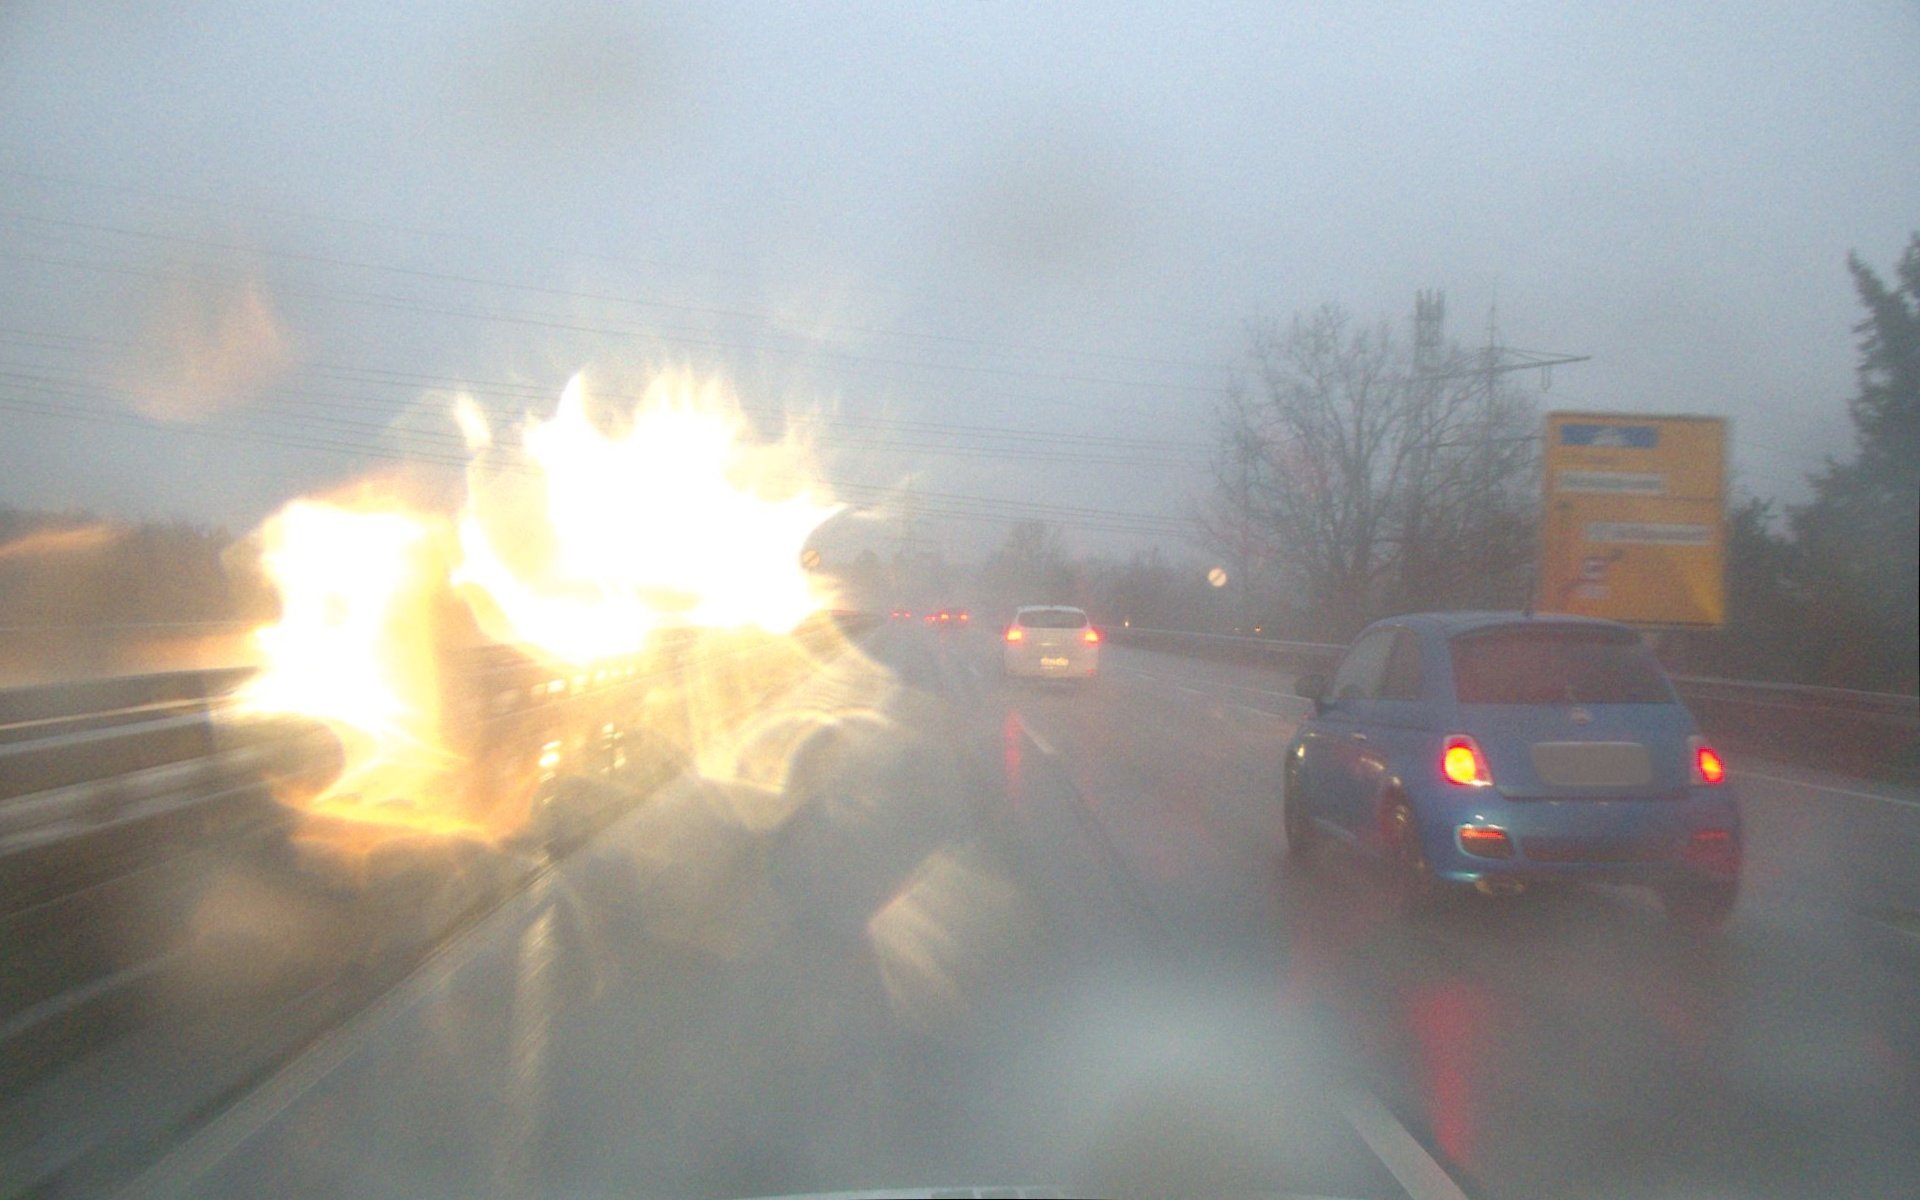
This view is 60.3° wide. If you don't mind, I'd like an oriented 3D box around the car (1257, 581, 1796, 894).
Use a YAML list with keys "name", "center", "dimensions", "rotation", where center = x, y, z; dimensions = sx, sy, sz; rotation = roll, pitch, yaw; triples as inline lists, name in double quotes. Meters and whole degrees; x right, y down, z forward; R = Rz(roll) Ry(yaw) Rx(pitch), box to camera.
- name: "car"
  center: [3.111, 0.644, 10.064]
  dimensions: [1.808, 1.479, 4.148]
  rotation: [0, 1, -1]

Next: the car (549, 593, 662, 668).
- name: "car"
  center: [-8.303, 0.672, 39.082]
  dimensions: [1.780, 1.578, 4.467]
  rotation: [0, 1, -1]

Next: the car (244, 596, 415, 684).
- name: "car"
  center: [-12.592, 0.742, 33.334]
  dimensions: [1.945, 1.578, 4.390]
  rotation: [0, 1, -3]

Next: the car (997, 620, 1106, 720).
- name: "car"
  center: [1.641, 1.243, 30.685]
  dimensions: [1.808, 1.664, 3.768]
  rotation: [1, 0, 0]
